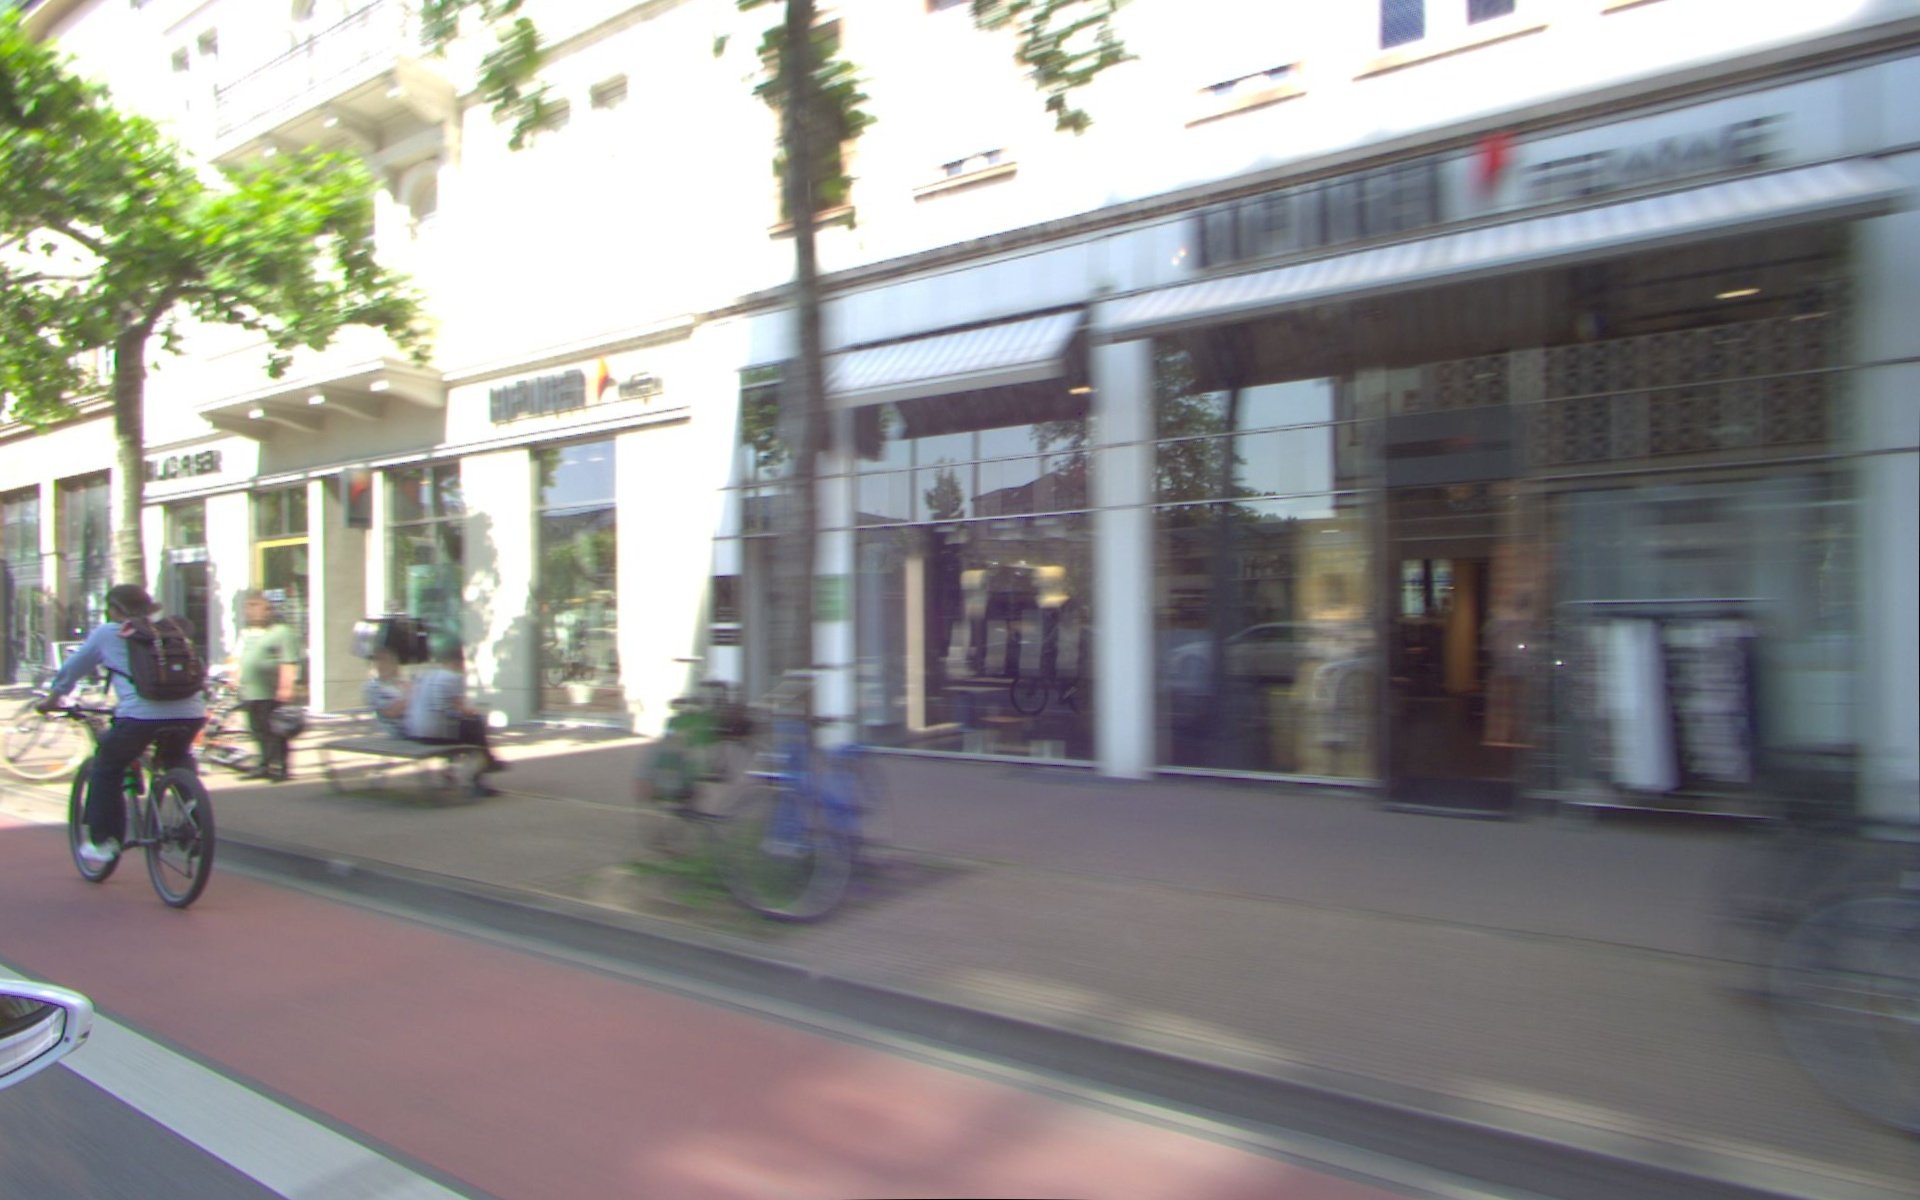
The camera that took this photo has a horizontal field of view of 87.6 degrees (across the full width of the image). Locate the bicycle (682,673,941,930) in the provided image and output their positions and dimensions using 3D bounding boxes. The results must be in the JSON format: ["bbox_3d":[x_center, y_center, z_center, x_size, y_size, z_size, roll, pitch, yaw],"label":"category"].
[{"bbox_3d":[-0.721,0.991,5.530,0.489,1.141,1.842,1,-3,23],"label":"bicycle"}]

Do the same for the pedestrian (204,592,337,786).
[{"bbox_3d":[-6.438,0.808,9.361,0.830,1.710,0.639,1,-3,29],"label":"pedestrian"}]

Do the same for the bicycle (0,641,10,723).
[{"bbox_3d":[-14.861,1.167,14.243,0.661,1.200,1.835,-1,-3,36],"label":"bicycle"}]

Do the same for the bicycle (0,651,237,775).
[{"bbox_3d":[-8.446,1.089,10.066,0.492,1.141,1.831,-1,-3,42],"label":"bicycle"}]

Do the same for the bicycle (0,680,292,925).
[{"bbox_3d":[-4.782,1.058,5.722,2.049,1.141,0.698,-1,-3,28],"label":"bicycle"}]

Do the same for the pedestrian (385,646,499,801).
[{"bbox_3d":[-4.382,1.017,8.488,0.588,1.248,0.639,-2,-2,29],"label":"pedestrian"}]

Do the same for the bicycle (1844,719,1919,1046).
[{"bbox_3d":[3.472,0.981,3.031,0.555,1.107,1.843,0,-3,20],"label":"bicycle"}]

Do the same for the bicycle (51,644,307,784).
[{"bbox_3d":[-7.465,1.035,9.659,0.665,1.212,1.833,-1,-2,38],"label":"bicycle"}]

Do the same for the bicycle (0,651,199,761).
[{"bbox_3d":[-9.705,1.133,11.137,0.783,1.111,1.835,-1,-2,36],"label":"bicycle"}]

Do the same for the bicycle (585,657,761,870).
[{"bbox_3d":[-1.874,1.013,6.798,0.566,1.212,1.781,0,-2,4],"label":"bicycle"}]

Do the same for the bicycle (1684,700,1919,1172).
[{"bbox_3d":[3.002,0.924,3.203,0.621,1.140,1.844,-1,-4,20],"label":"bicycle"}]

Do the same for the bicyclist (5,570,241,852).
[{"bbox_3d":[-4.778,0.598,5.732,0.946,1.464,0.698,-1,-2,28],"label":"bicyclist"}]

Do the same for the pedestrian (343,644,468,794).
[{"bbox_3d":[-4.913,1.024,8.903,0.567,1.258,0.787,-2,-2,28],"label":"pedestrian"}]
